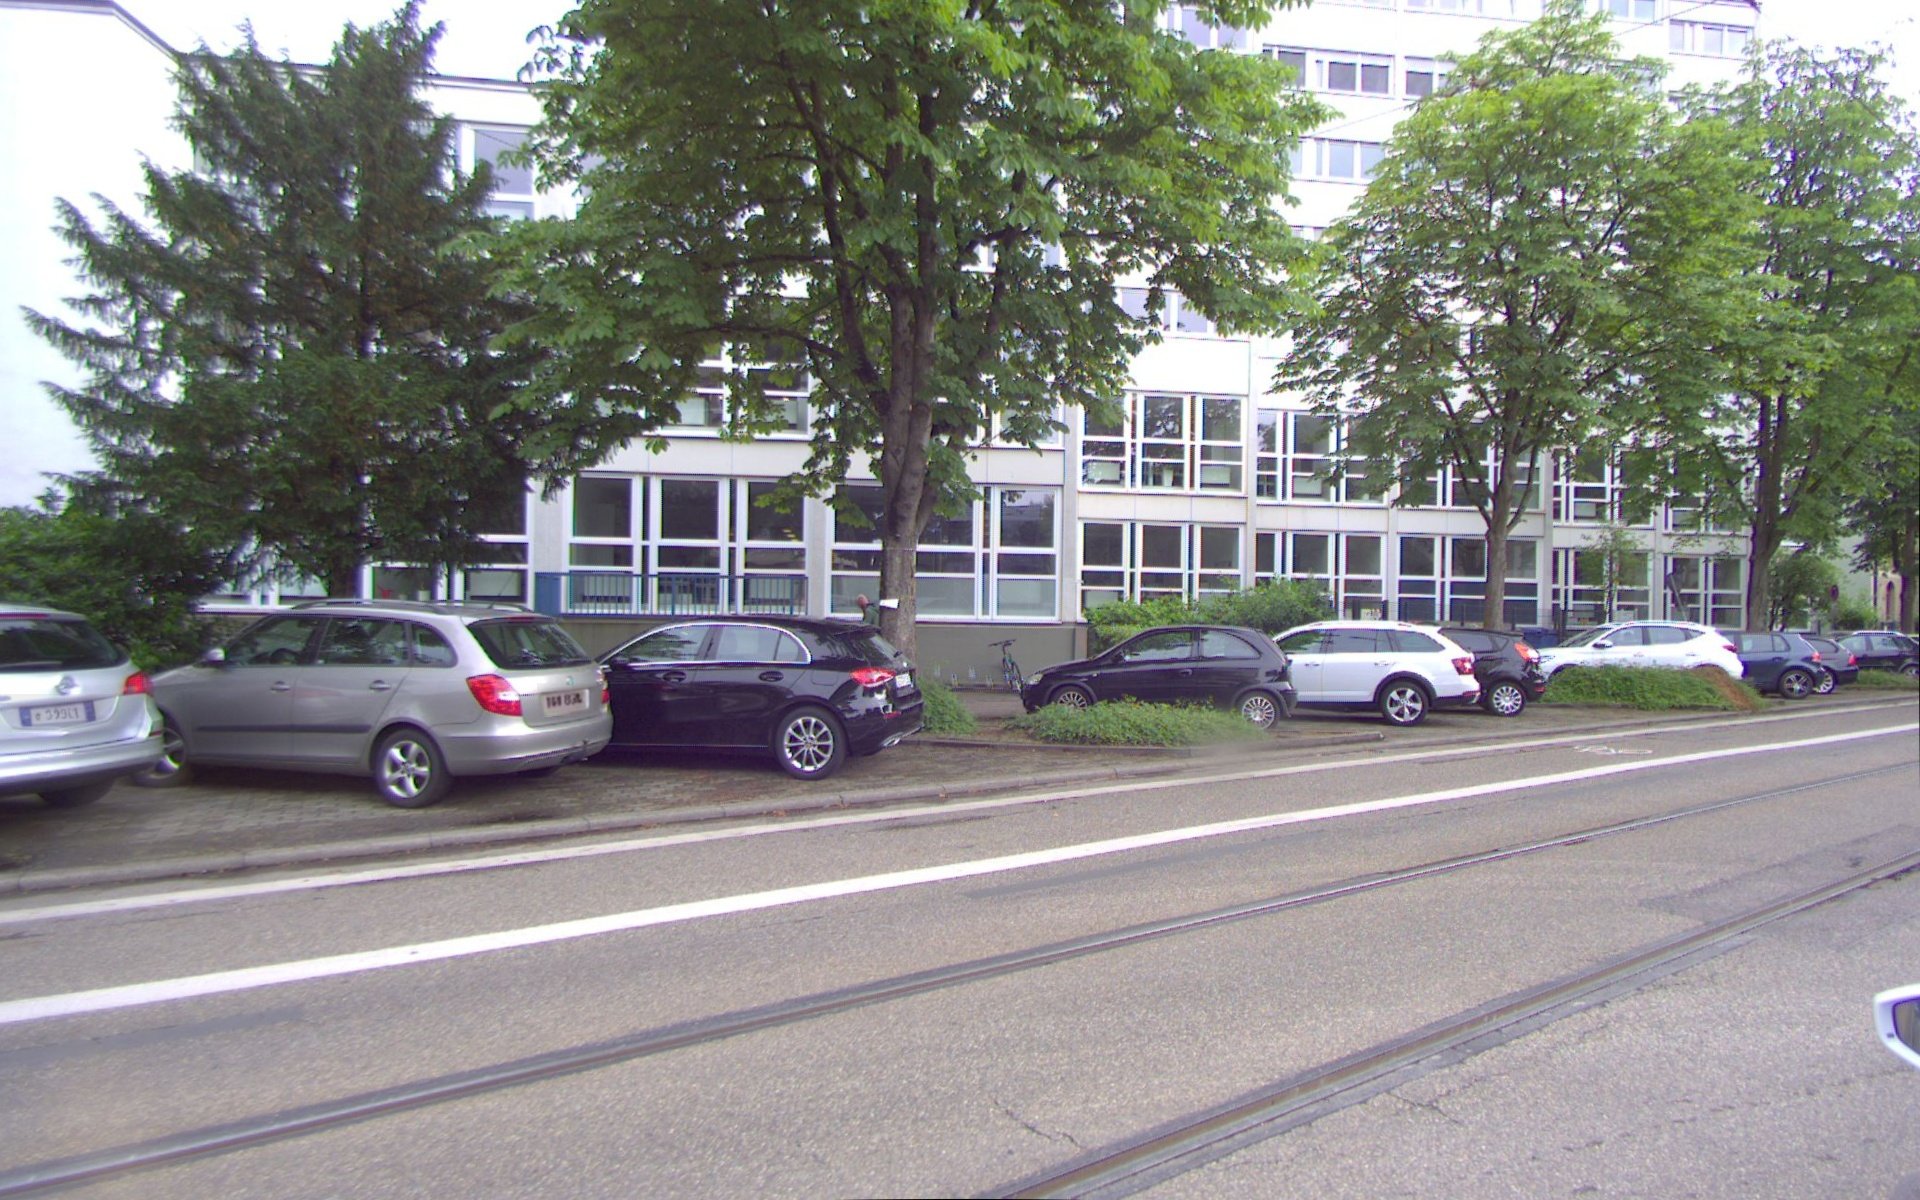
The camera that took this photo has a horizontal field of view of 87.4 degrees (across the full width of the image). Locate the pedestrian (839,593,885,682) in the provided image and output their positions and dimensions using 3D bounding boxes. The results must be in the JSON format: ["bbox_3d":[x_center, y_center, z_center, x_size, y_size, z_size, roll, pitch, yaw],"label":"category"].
[{"bbox_3d":[-1.864,0.697,19.052,0.722,1.633,0.753,3,0,-13],"label":"pedestrian"}]

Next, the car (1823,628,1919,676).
[{"bbox_3d":[29.866,1.638,31.499,3.888,1.370,1.701,2,0,12],"label":"car"}]

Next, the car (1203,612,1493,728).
[{"bbox_3d":[5.919,1.002,15.641,3.949,1.504,1.700,2,0,20],"label":"car"}]

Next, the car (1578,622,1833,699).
[{"bbox_3d":[16.647,1.323,22.646,4.258,1.473,1.701,2,0,12],"label":"car"}]

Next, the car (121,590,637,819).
[{"bbox_3d":[-4.730,0.744,8.325,3.577,1.544,1.573,2,0,13],"label":"car"}]

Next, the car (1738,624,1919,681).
[{"bbox_3d":[24.542,1.453,28.190,3.888,1.370,1.701,2,0,12],"label":"car"}]

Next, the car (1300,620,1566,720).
[{"bbox_3d":[8.009,1.137,17.401,3.949,1.424,1.700,2,0,20],"label":"car"}]

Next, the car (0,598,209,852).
[{"bbox_3d":[-7.774,0.706,6.791,4.342,1.484,1.805,2,0,10],"label":"car"}]

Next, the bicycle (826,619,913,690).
[{"bbox_3d":[-1.714,1.030,19.018,1.568,1.285,0.405,2,0,-13],"label":"bicycle"}]

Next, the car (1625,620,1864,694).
[{"bbox_3d":[19.109,1.348,24.658,4.258,1.556,1.701,2,0,12],"label":"car"}]

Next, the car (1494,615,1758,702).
[{"bbox_3d":[13.818,1.174,21.067,4.258,1.577,1.701,2,0,9],"label":"car"}]

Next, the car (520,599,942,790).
[{"bbox_3d":[-2.161,0.812,9.844,3.631,1.544,1.701,2,0,13],"label":"car"}]

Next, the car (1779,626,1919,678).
[{"bbox_3d":[27.239,1.548,30.030,3.888,1.370,1.701,2,0,12],"label":"car"}]

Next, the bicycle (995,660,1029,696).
[{"bbox_3d":[1.001,1.502,19.536,0.340,0.543,1.265,0,3,-12],"label":"bicycle"}]

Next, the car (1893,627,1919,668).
[{"bbox_3d":[34.388,1.673,33.912,3.888,1.370,1.701,2,0,12],"label":"car"}]

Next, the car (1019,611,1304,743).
[{"bbox_3d":[2.777,0.993,14.007,3.631,1.544,1.701,2,0,13],"label":"car"}]
